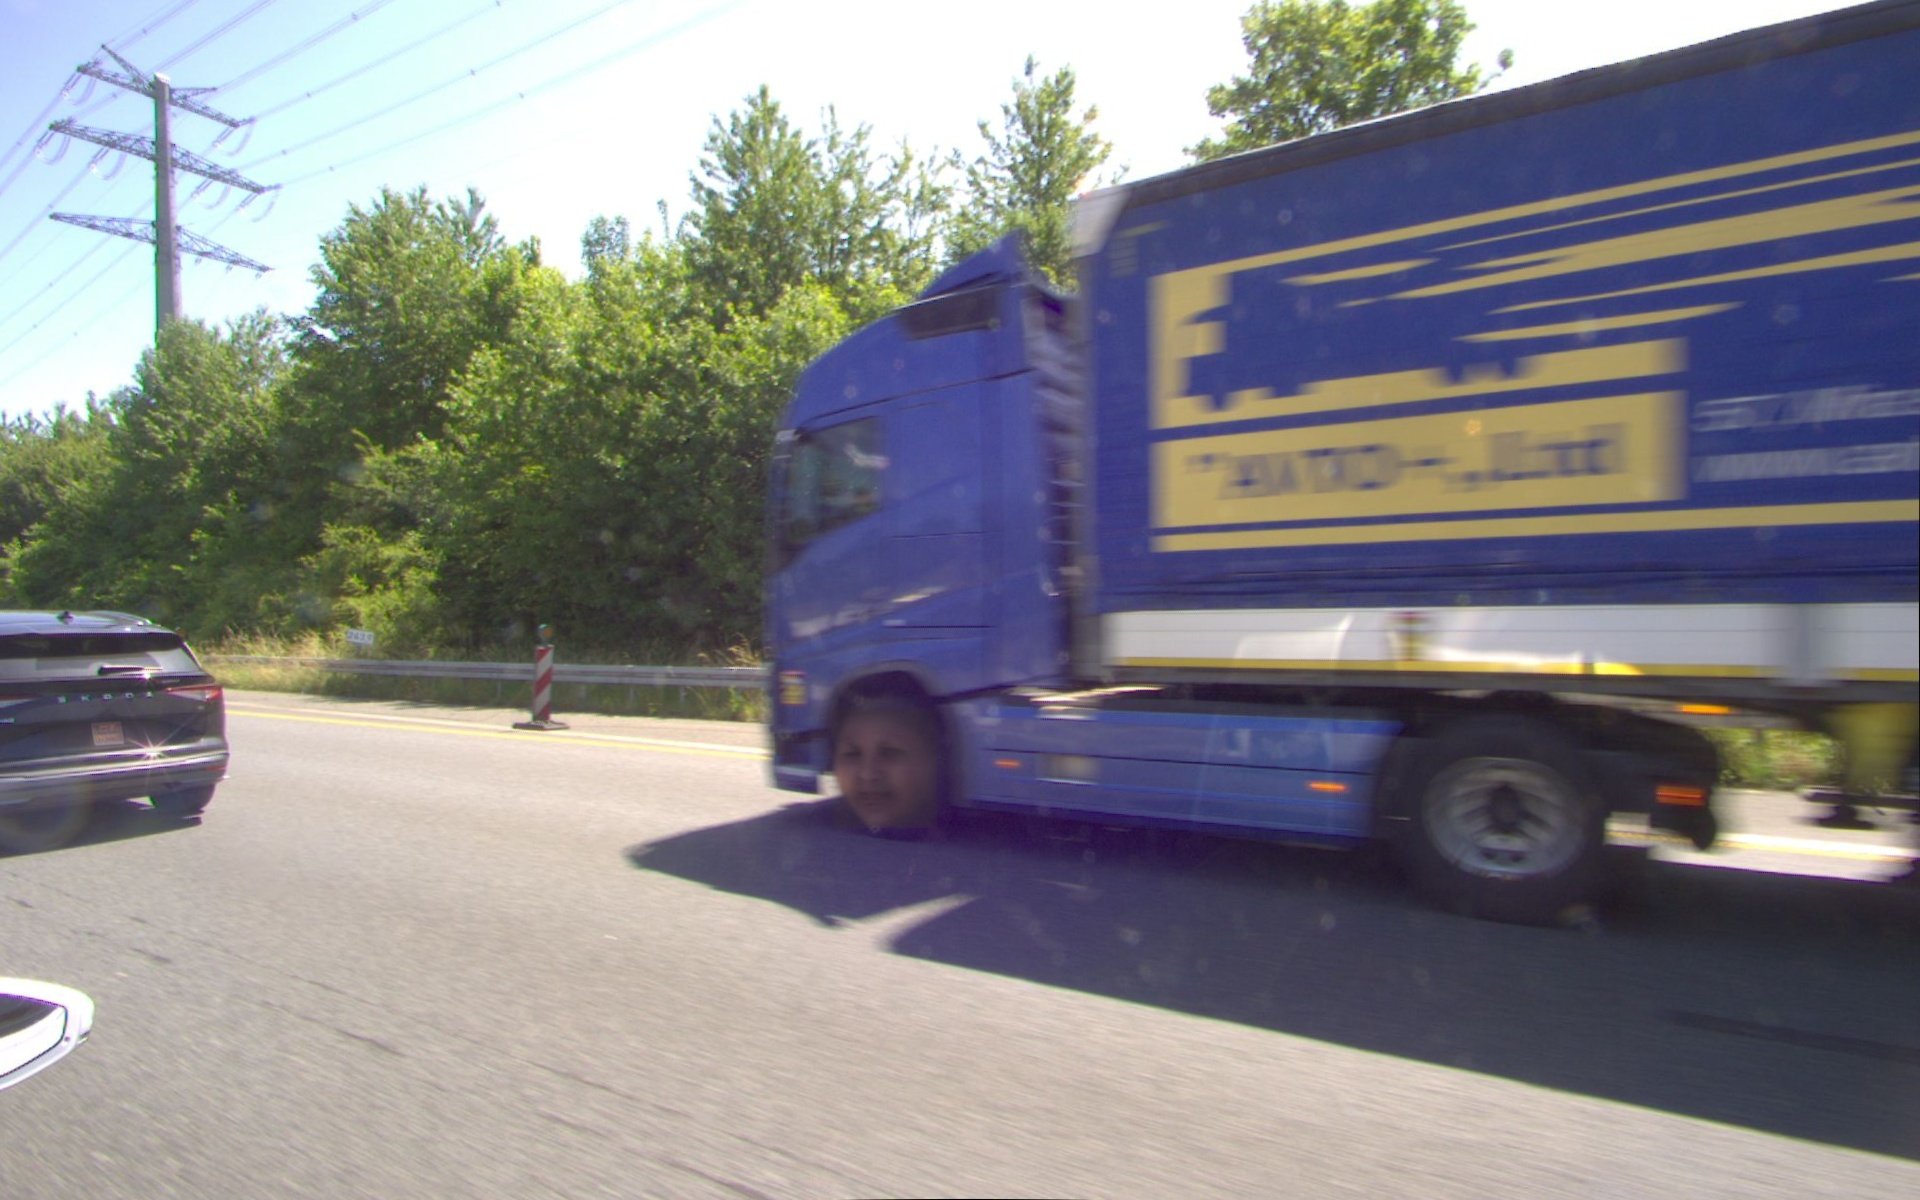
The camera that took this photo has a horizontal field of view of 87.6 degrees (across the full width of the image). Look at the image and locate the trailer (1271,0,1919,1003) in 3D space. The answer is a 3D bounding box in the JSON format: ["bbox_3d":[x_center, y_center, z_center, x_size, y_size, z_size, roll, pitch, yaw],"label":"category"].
[{"bbox_3d":[7.764,-0.583,3.173,12.693,4.318,2.763,-1,-2,32],"label":"trailer"}]

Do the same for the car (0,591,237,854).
[{"bbox_3d":[-7.750,0.830,7.922,4.364,1.676,1.699,-1,-2,31],"label":"car"}]

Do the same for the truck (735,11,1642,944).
[{"bbox_3d":[1.408,-0.475,7.161,5.556,4.197,2.781,-1,-2,32],"label":"truck"}]
